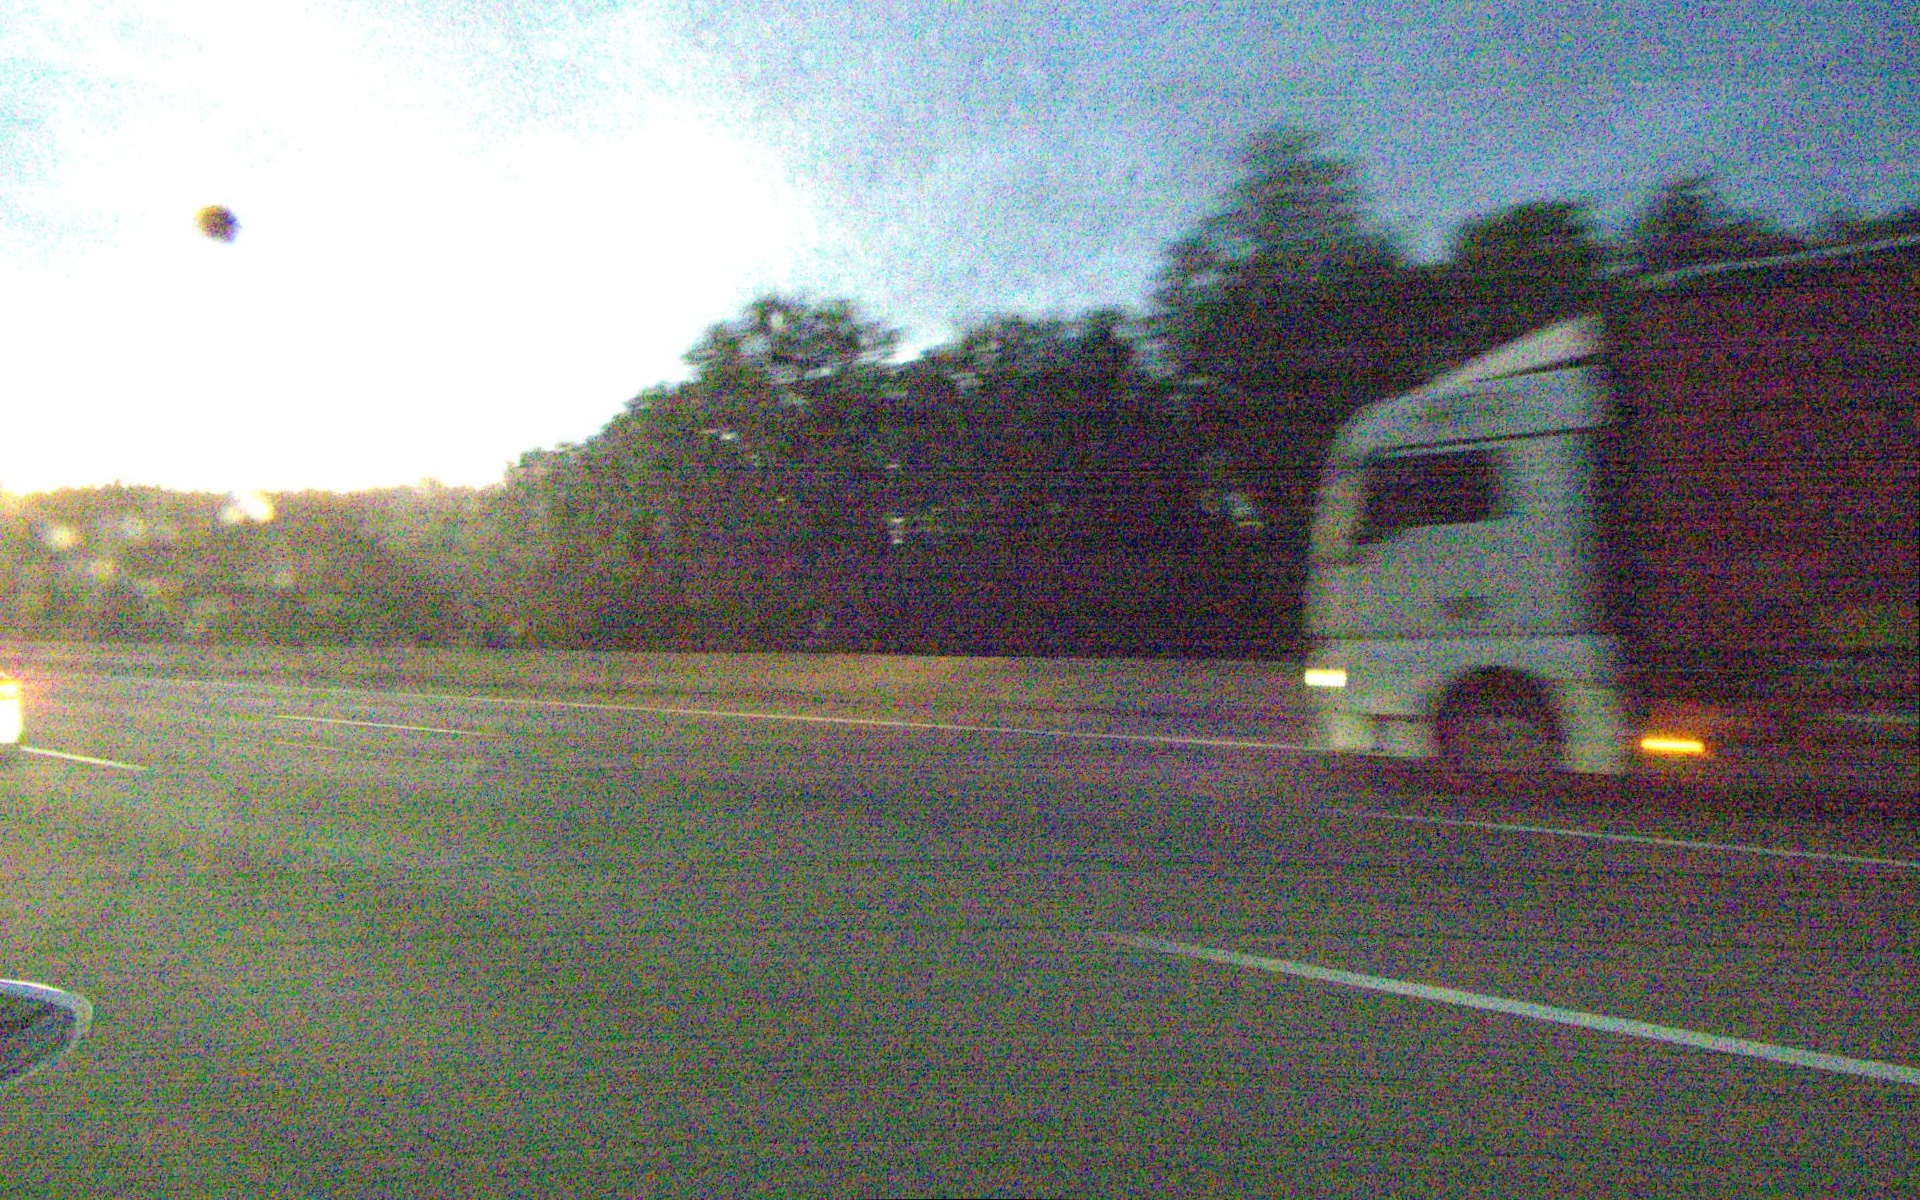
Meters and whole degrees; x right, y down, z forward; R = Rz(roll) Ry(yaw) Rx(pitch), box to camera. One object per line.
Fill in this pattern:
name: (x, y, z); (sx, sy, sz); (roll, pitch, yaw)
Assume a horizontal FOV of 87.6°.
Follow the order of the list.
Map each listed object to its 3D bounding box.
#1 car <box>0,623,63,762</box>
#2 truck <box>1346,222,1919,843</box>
car: (-11.866, 1.003, 11.124); (3.666, 1.460, 1.857); (-1, -2, 31)
truck: (8.597, -0.453, 7.011); (10.677, 4.154, 2.879); (-1, -1, 33)
